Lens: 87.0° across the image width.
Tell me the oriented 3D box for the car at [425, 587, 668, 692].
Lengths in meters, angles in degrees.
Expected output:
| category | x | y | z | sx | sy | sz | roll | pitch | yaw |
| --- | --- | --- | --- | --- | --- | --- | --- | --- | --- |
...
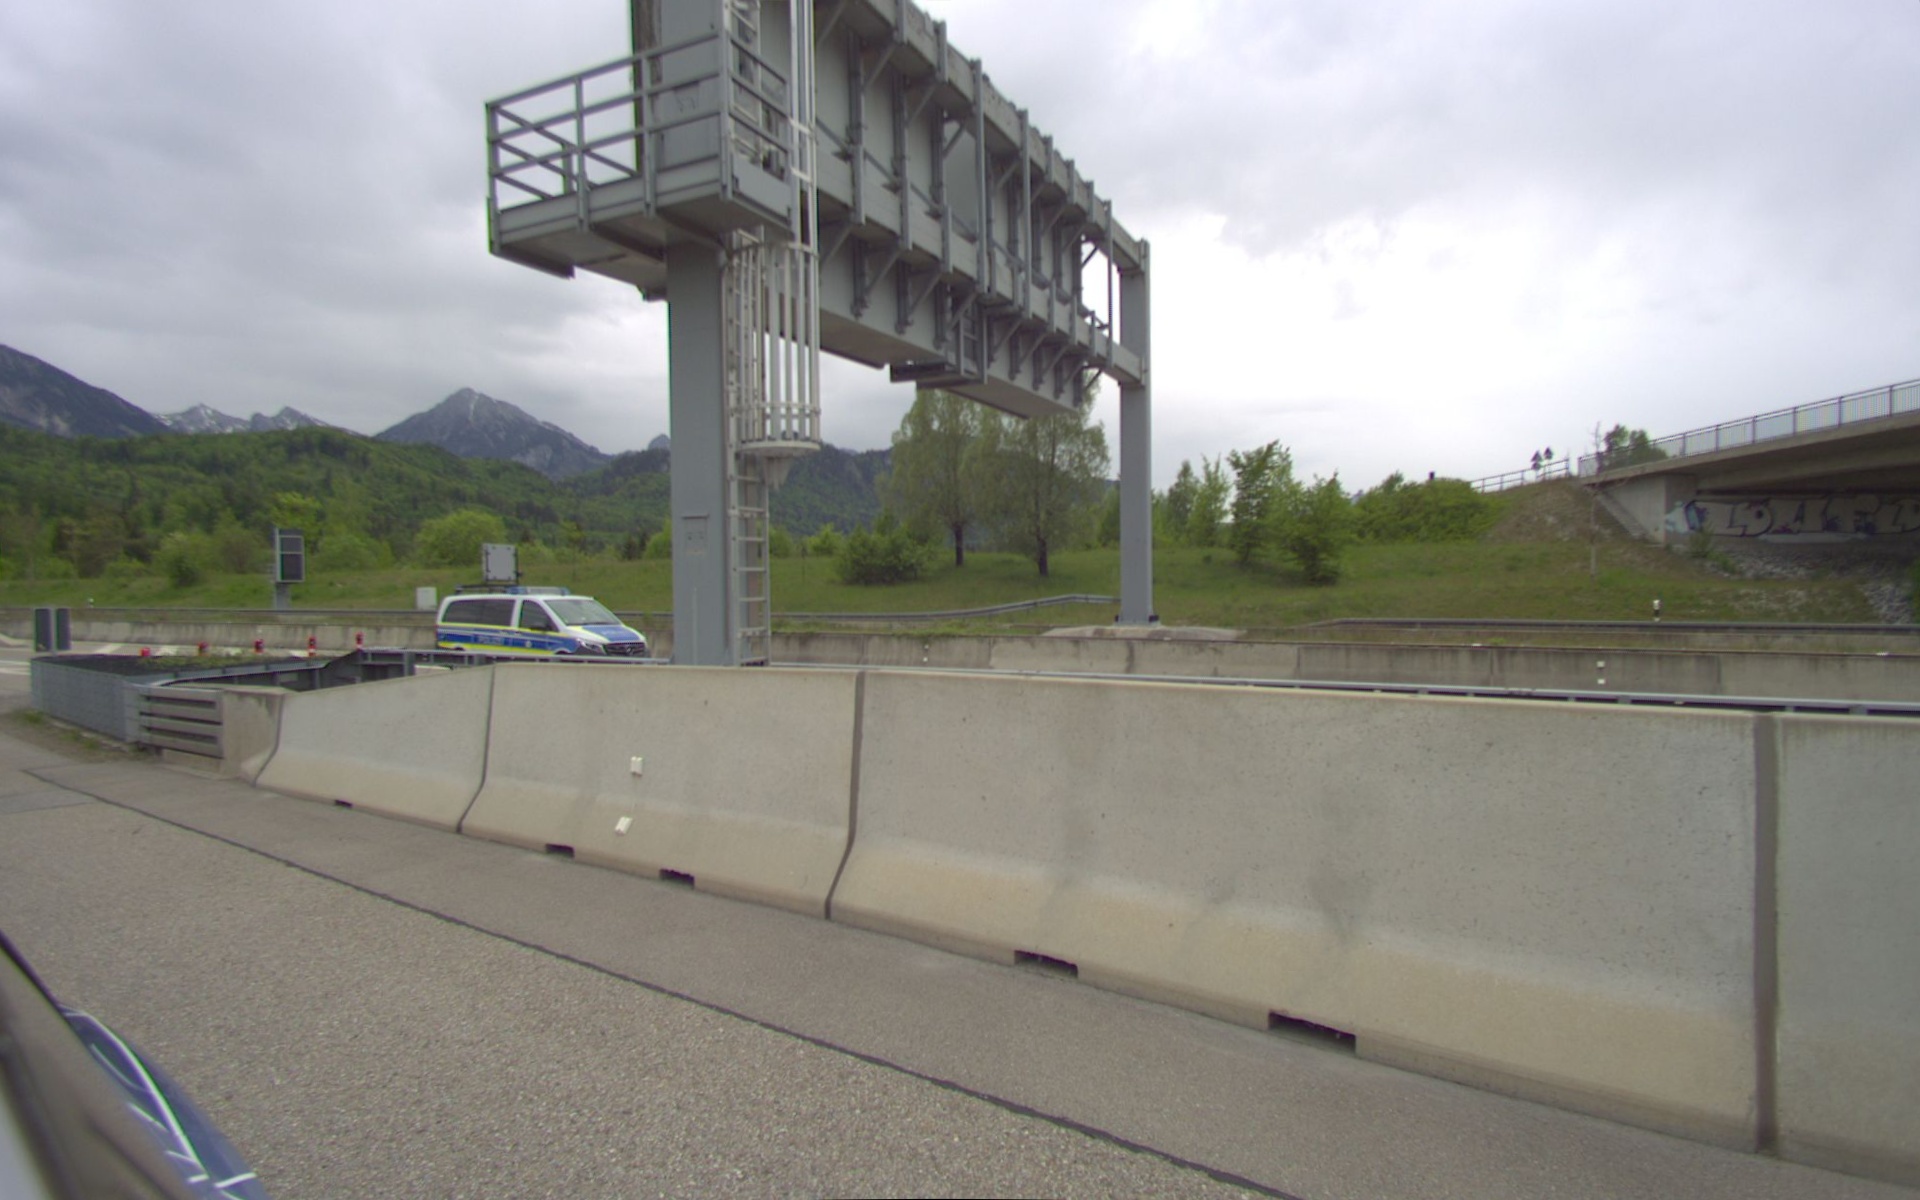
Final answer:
| category | x | y | z | sx | sy | sz | roll | pitch | yaw |
| --- | --- | --- | --- | --- | --- | --- | --- | --- | --- |
| car | -8.851 | 0.786 | 21.606 | 5.028 | 2.029 | 2.085 | 0 | -1 | 28 |
